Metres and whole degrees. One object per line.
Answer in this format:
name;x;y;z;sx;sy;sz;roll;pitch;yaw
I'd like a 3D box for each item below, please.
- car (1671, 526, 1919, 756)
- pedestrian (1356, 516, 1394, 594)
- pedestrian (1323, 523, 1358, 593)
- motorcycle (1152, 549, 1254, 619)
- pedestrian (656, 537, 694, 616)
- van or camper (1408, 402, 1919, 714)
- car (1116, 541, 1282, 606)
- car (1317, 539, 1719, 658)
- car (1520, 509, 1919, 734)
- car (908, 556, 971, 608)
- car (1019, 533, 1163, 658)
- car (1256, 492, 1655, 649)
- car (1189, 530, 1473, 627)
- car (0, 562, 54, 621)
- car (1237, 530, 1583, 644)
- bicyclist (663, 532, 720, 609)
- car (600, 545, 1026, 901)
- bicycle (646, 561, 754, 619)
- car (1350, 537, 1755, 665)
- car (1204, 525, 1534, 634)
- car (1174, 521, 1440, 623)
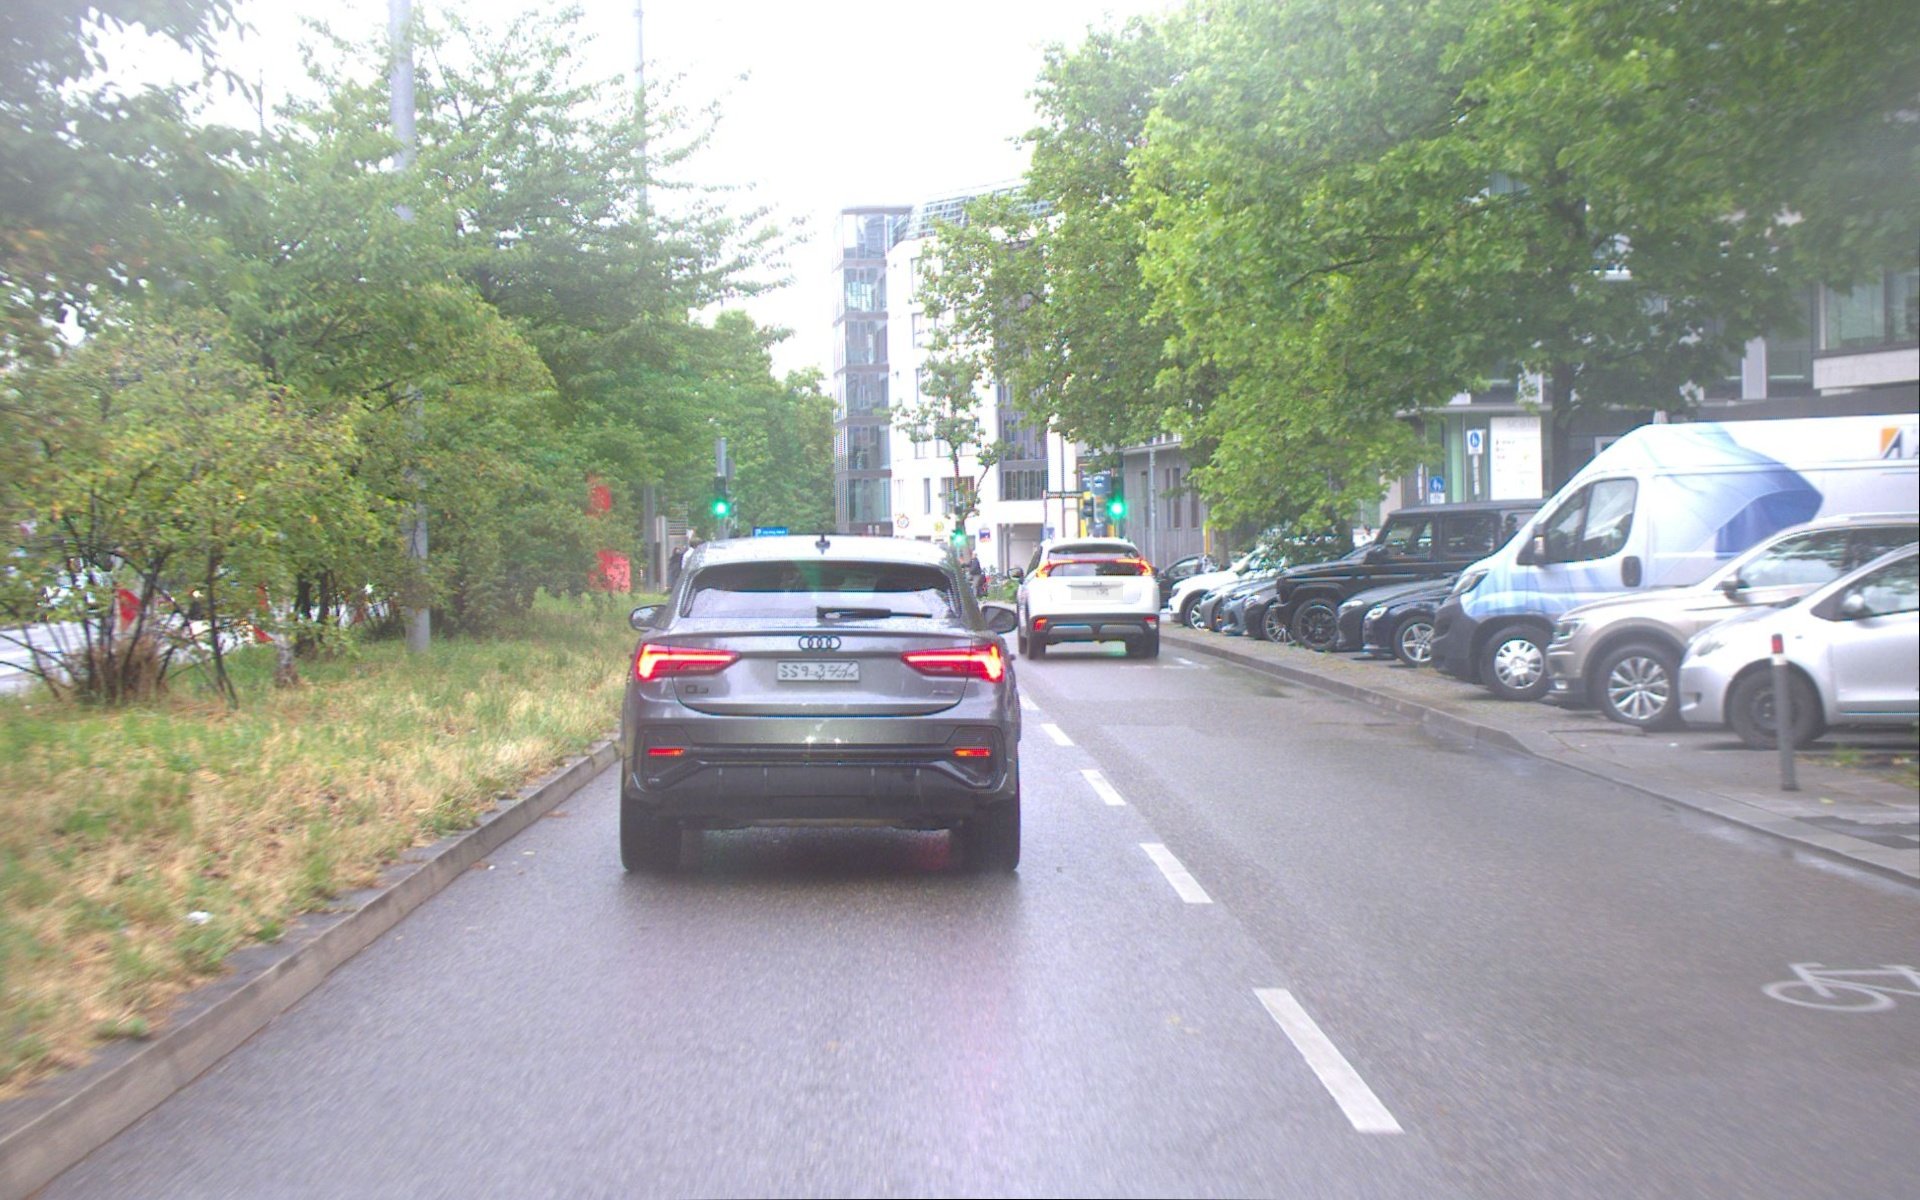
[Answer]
car;6.872;0.264;23.747;3.652;1.542;1.713;0;1;19
pedestrian;11.298;-1.212;93.593;0.936;2.108;1.075;0;0;11
pedestrian;10.366;-1.147;93.707;0.867;1.897;0.885;0;0;11
motorcycle;4.973;-0.321;70.315;2.029;1.410;0.725;0;0;8
pedestrian;-6.481;-0.530;78.314;0.662;1.787;0.750;0;0;12
van or camper;7.106;-0.353;29.618;6.074;2.549;2.102;0;0;27
car;5.884;-0.644;84.712;3.861;1.562;1.664;0;0;42
car;7.021;-0.014;43.375;4.629;1.390;1.844;-1;0;28
car;6.647;0.141;26.495;4.262;1.662;1.816;0;1;26
car;-0.611;-0.557;104.047;1.849;1.518;4.039;0;1;0
car;1.779;-0.085;47.862;1.849;1.663;4.039;0;1;0
car;6.686;-0.390;46.481;4.943;1.972;1.927;-1;1;26
car;6.166;-0.357;57.278;4.300;1.483;1.840;-1;1;29
car;-25.728;-0.222;92.933;1.874;1.530;4.078;-2;0;-8
car;6.460;-0.188;49.399;4.559;1.501;1.867;-1;1;24
bicyclist;-5.770;-0.632;73.850;1.104;1.616;0.751;2;0;-1
car;-0.668;0.502;16.951;1.849;1.518;4.039;0;1;-1
bicycle;-5.579;-0.203;73.848;2.254;1.158;0.751;2;0;-1
car;6.962;0.008;40.456;4.371;1.431;1.759;0;1;26
car;6.268;-0.319;52.581;4.777;1.528;1.868;-1;1;14
car;6.075;-0.487;60.241;4.223;1.663;1.836;-1;1;27
